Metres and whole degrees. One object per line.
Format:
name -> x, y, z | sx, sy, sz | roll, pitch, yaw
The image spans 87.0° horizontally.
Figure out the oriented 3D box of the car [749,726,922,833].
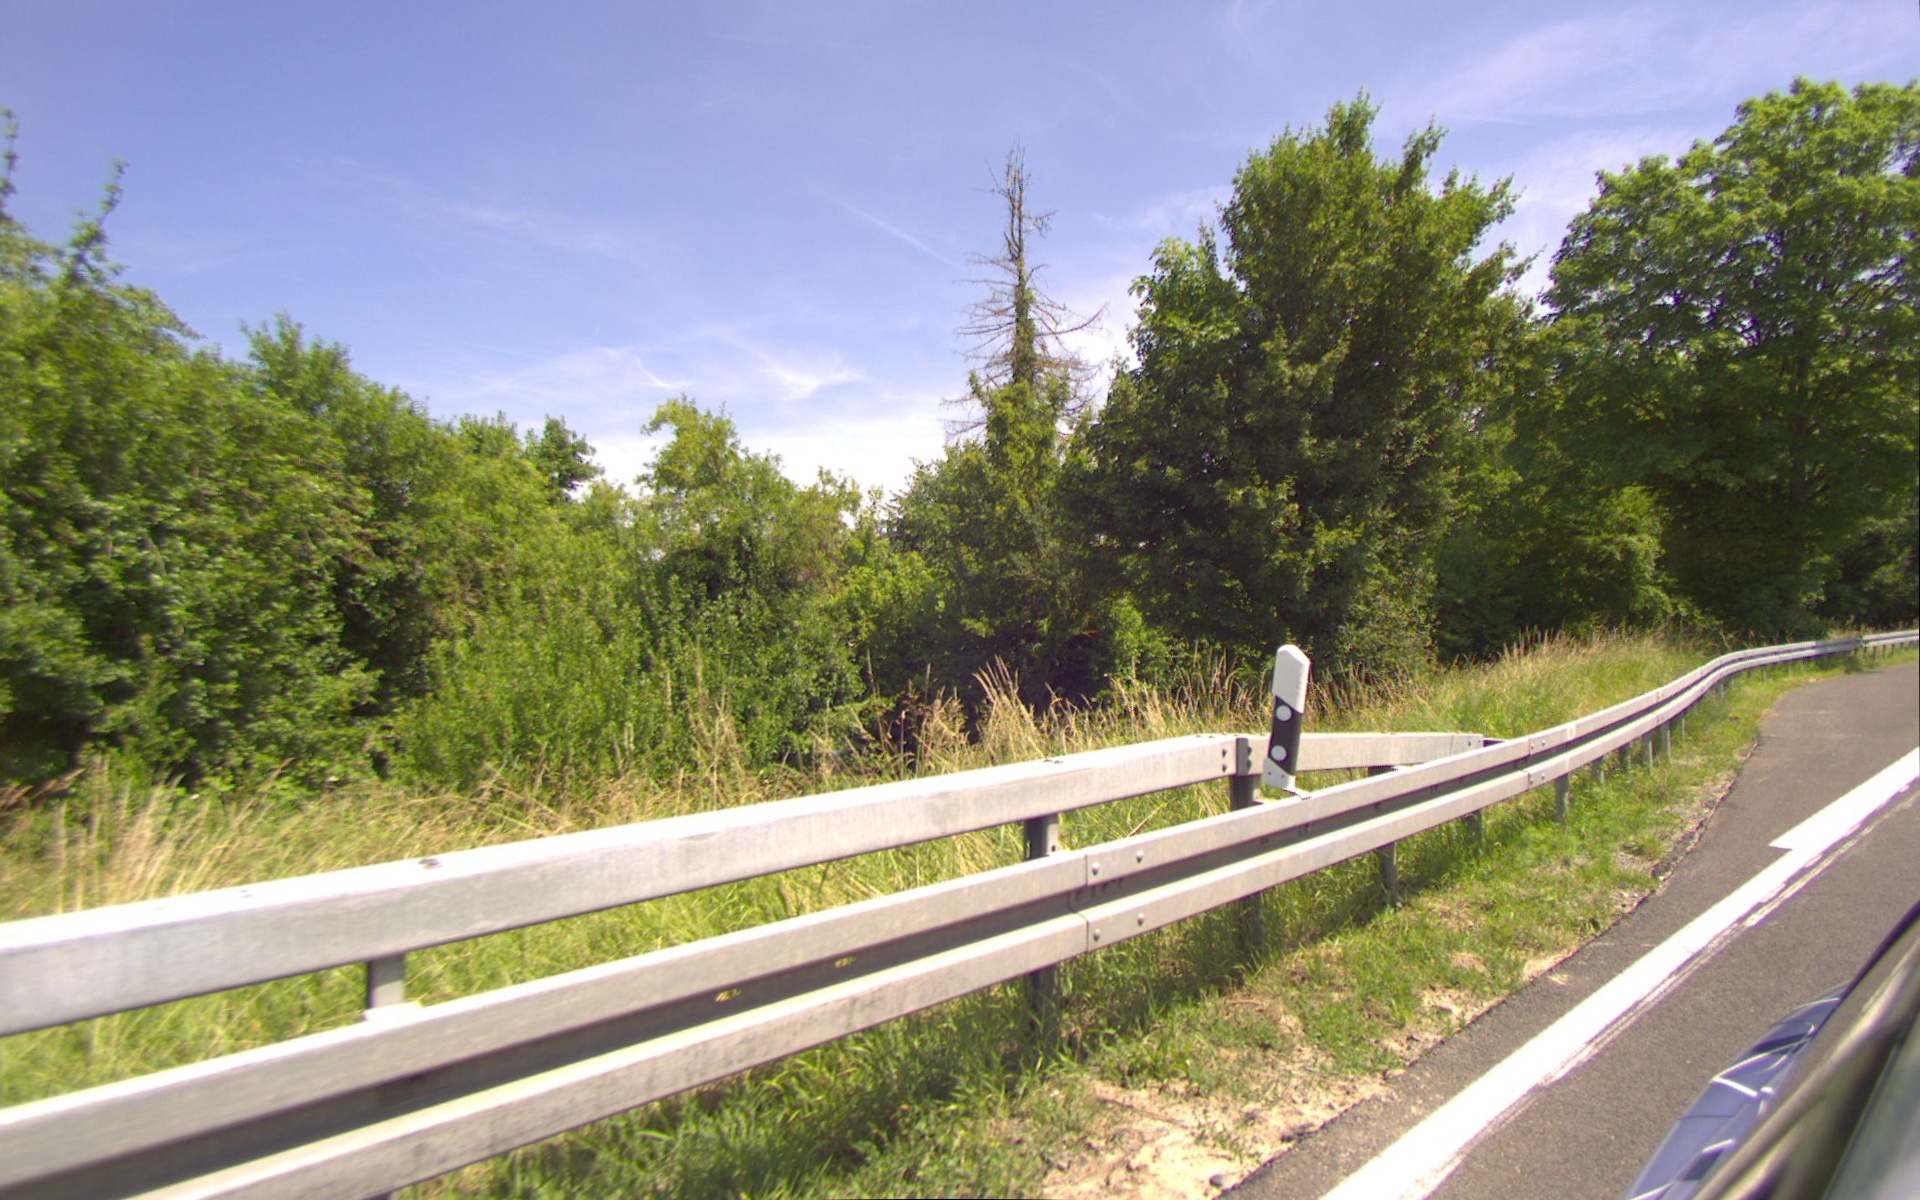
car -> -2.742, 3.724, 21.582 | 1.729, 1.715, 3.992 | 0, -3, -40
